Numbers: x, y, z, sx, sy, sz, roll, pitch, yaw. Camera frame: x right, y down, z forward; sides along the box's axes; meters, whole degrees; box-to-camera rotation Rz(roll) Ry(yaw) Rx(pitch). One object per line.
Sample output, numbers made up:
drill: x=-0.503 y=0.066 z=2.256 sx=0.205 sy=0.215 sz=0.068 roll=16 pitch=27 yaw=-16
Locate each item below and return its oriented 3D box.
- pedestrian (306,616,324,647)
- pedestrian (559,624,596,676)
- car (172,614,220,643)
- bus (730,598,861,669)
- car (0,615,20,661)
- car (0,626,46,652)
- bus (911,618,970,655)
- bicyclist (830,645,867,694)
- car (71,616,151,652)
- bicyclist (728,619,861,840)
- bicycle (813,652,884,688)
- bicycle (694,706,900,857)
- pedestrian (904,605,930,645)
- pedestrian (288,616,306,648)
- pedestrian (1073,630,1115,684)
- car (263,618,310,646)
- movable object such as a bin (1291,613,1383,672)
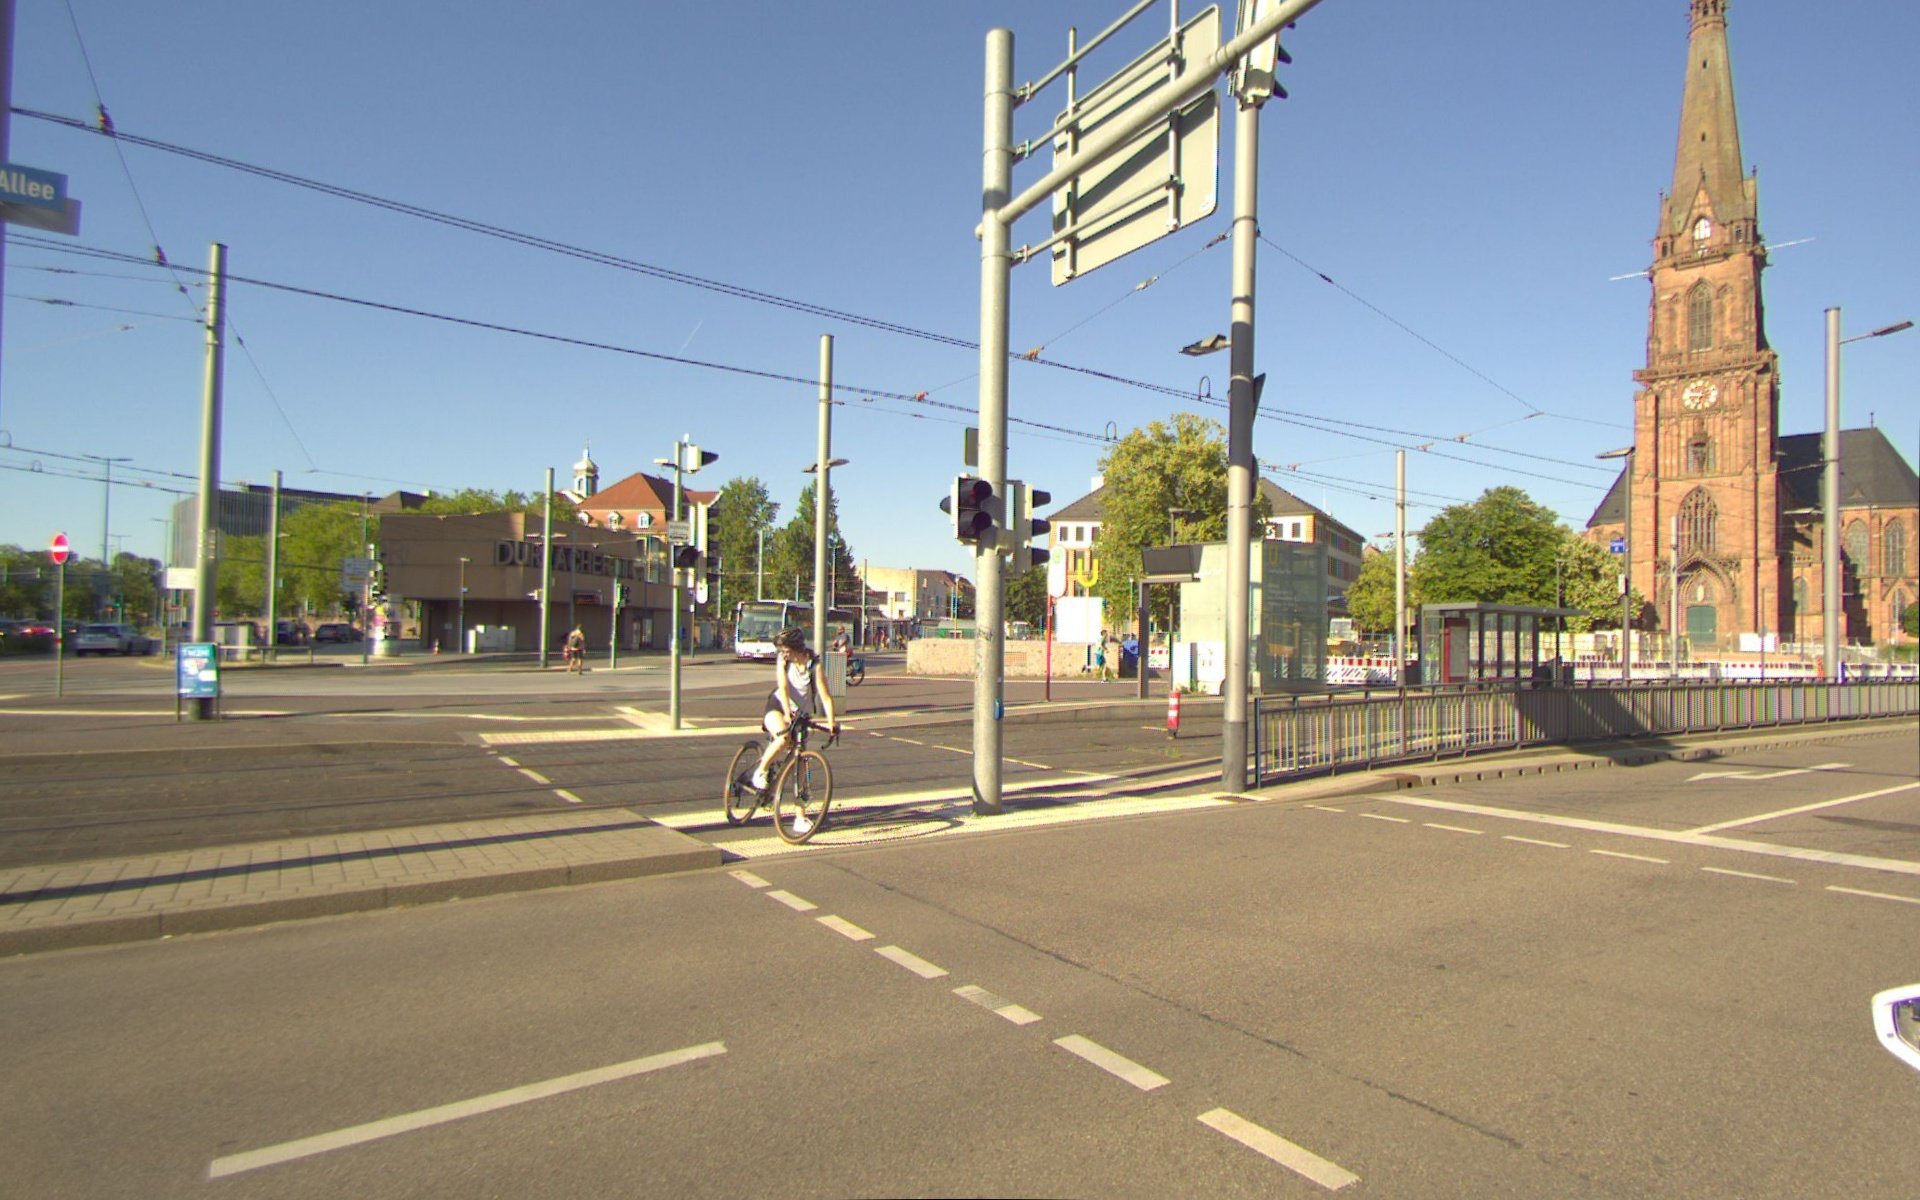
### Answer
pedestrian: x=-37.473 y=1.846 z=58.319 sx=0.797 sy=1.792 sz=0.963 roll=-1 pitch=-1 yaw=-37
pedestrian: x=-13.143 y=1.714 z=34.511 sx=1.041 sy=1.708 sz=0.725 roll=-3 pitch=-1 yaw=39
car: x=-45.167 y=1.677 z=59.417 sx=1.701 sy=1.652 sz=3.841 roll=0 pitch=-2 yaw=-29
bus: x=-8.343 y=1.692 z=53.233 sx=2.784 sy=3.236 sz=12.670 roll=-2 pitch=-1 yaw=10
car: x=-37.836 y=1.401 z=37.762 sx=1.912 sy=1.769 sz=4.602 roll=2 pitch=-3 yaw=-20
car: x=-64.962 y=2.669 z=68.926 sx=1.973 sy=1.706 sz=4.678 roll=-1 pitch=-2 yaw=-25
bus: x=-1.656 y=3.333 z=94.435 sx=3.185 sy=3.236 sz=12.670 roll=-2 pitch=-1 yaw=10
bicyclist: x=-3.330 y=2.074 z=30.017 sx=0.889 sy=1.363 sz=0.810 roll=-1 pitch=2 yaw=-24
car: x=-38.273 y=1.545 z=45.392 sx=1.826 sy=1.441 sz=4.398 roll=6 pitch=-5 yaw=-29
bicyclist: x=-1.320 y=0.993 z=8.016 sx=0.808 sy=1.637 sz=0.669 roll=3 pitch=-4 yaw=-39
bicycle: x=-3.335 y=2.074 z=30.020 sx=1.974 sy=0.955 sz=0.810 roll=0 pitch=2 yaw=-24
bicycle: x=-1.350 y=1.375 z=8.026 sx=0.808 sy=0.954 sz=1.874 roll=3 pitch=-4 yaw=-38
pedestrian: x=-1.882 y=1.076 z=43.801 sx=1.036 sy=1.708 sz=0.728 roll=-2 pitch=-1 yaw=-5
pedestrian: x=-38.136 y=1.853 z=57.773 sx=0.797 sy=1.792 sz=0.953 roll=-1 pitch=-1 yaw=-37
pedestrian: x=4.644 y=1.965 z=34.907 sx=1.167 sy=1.792 sz=0.797 roll=-1 pitch=-1 yaw=-34
car: x=-42.388 y=2.019 z=63.304 sx=1.840 sy=1.652 sz=4.011 roll=-2 pitch=-1 yaw=-26
movable object such as a bin: x=17.893 y=1.969 z=47.540 sx=2.594 sy=2.559 sz=5.148 roll=-3 pitch=-2 yaw=38
